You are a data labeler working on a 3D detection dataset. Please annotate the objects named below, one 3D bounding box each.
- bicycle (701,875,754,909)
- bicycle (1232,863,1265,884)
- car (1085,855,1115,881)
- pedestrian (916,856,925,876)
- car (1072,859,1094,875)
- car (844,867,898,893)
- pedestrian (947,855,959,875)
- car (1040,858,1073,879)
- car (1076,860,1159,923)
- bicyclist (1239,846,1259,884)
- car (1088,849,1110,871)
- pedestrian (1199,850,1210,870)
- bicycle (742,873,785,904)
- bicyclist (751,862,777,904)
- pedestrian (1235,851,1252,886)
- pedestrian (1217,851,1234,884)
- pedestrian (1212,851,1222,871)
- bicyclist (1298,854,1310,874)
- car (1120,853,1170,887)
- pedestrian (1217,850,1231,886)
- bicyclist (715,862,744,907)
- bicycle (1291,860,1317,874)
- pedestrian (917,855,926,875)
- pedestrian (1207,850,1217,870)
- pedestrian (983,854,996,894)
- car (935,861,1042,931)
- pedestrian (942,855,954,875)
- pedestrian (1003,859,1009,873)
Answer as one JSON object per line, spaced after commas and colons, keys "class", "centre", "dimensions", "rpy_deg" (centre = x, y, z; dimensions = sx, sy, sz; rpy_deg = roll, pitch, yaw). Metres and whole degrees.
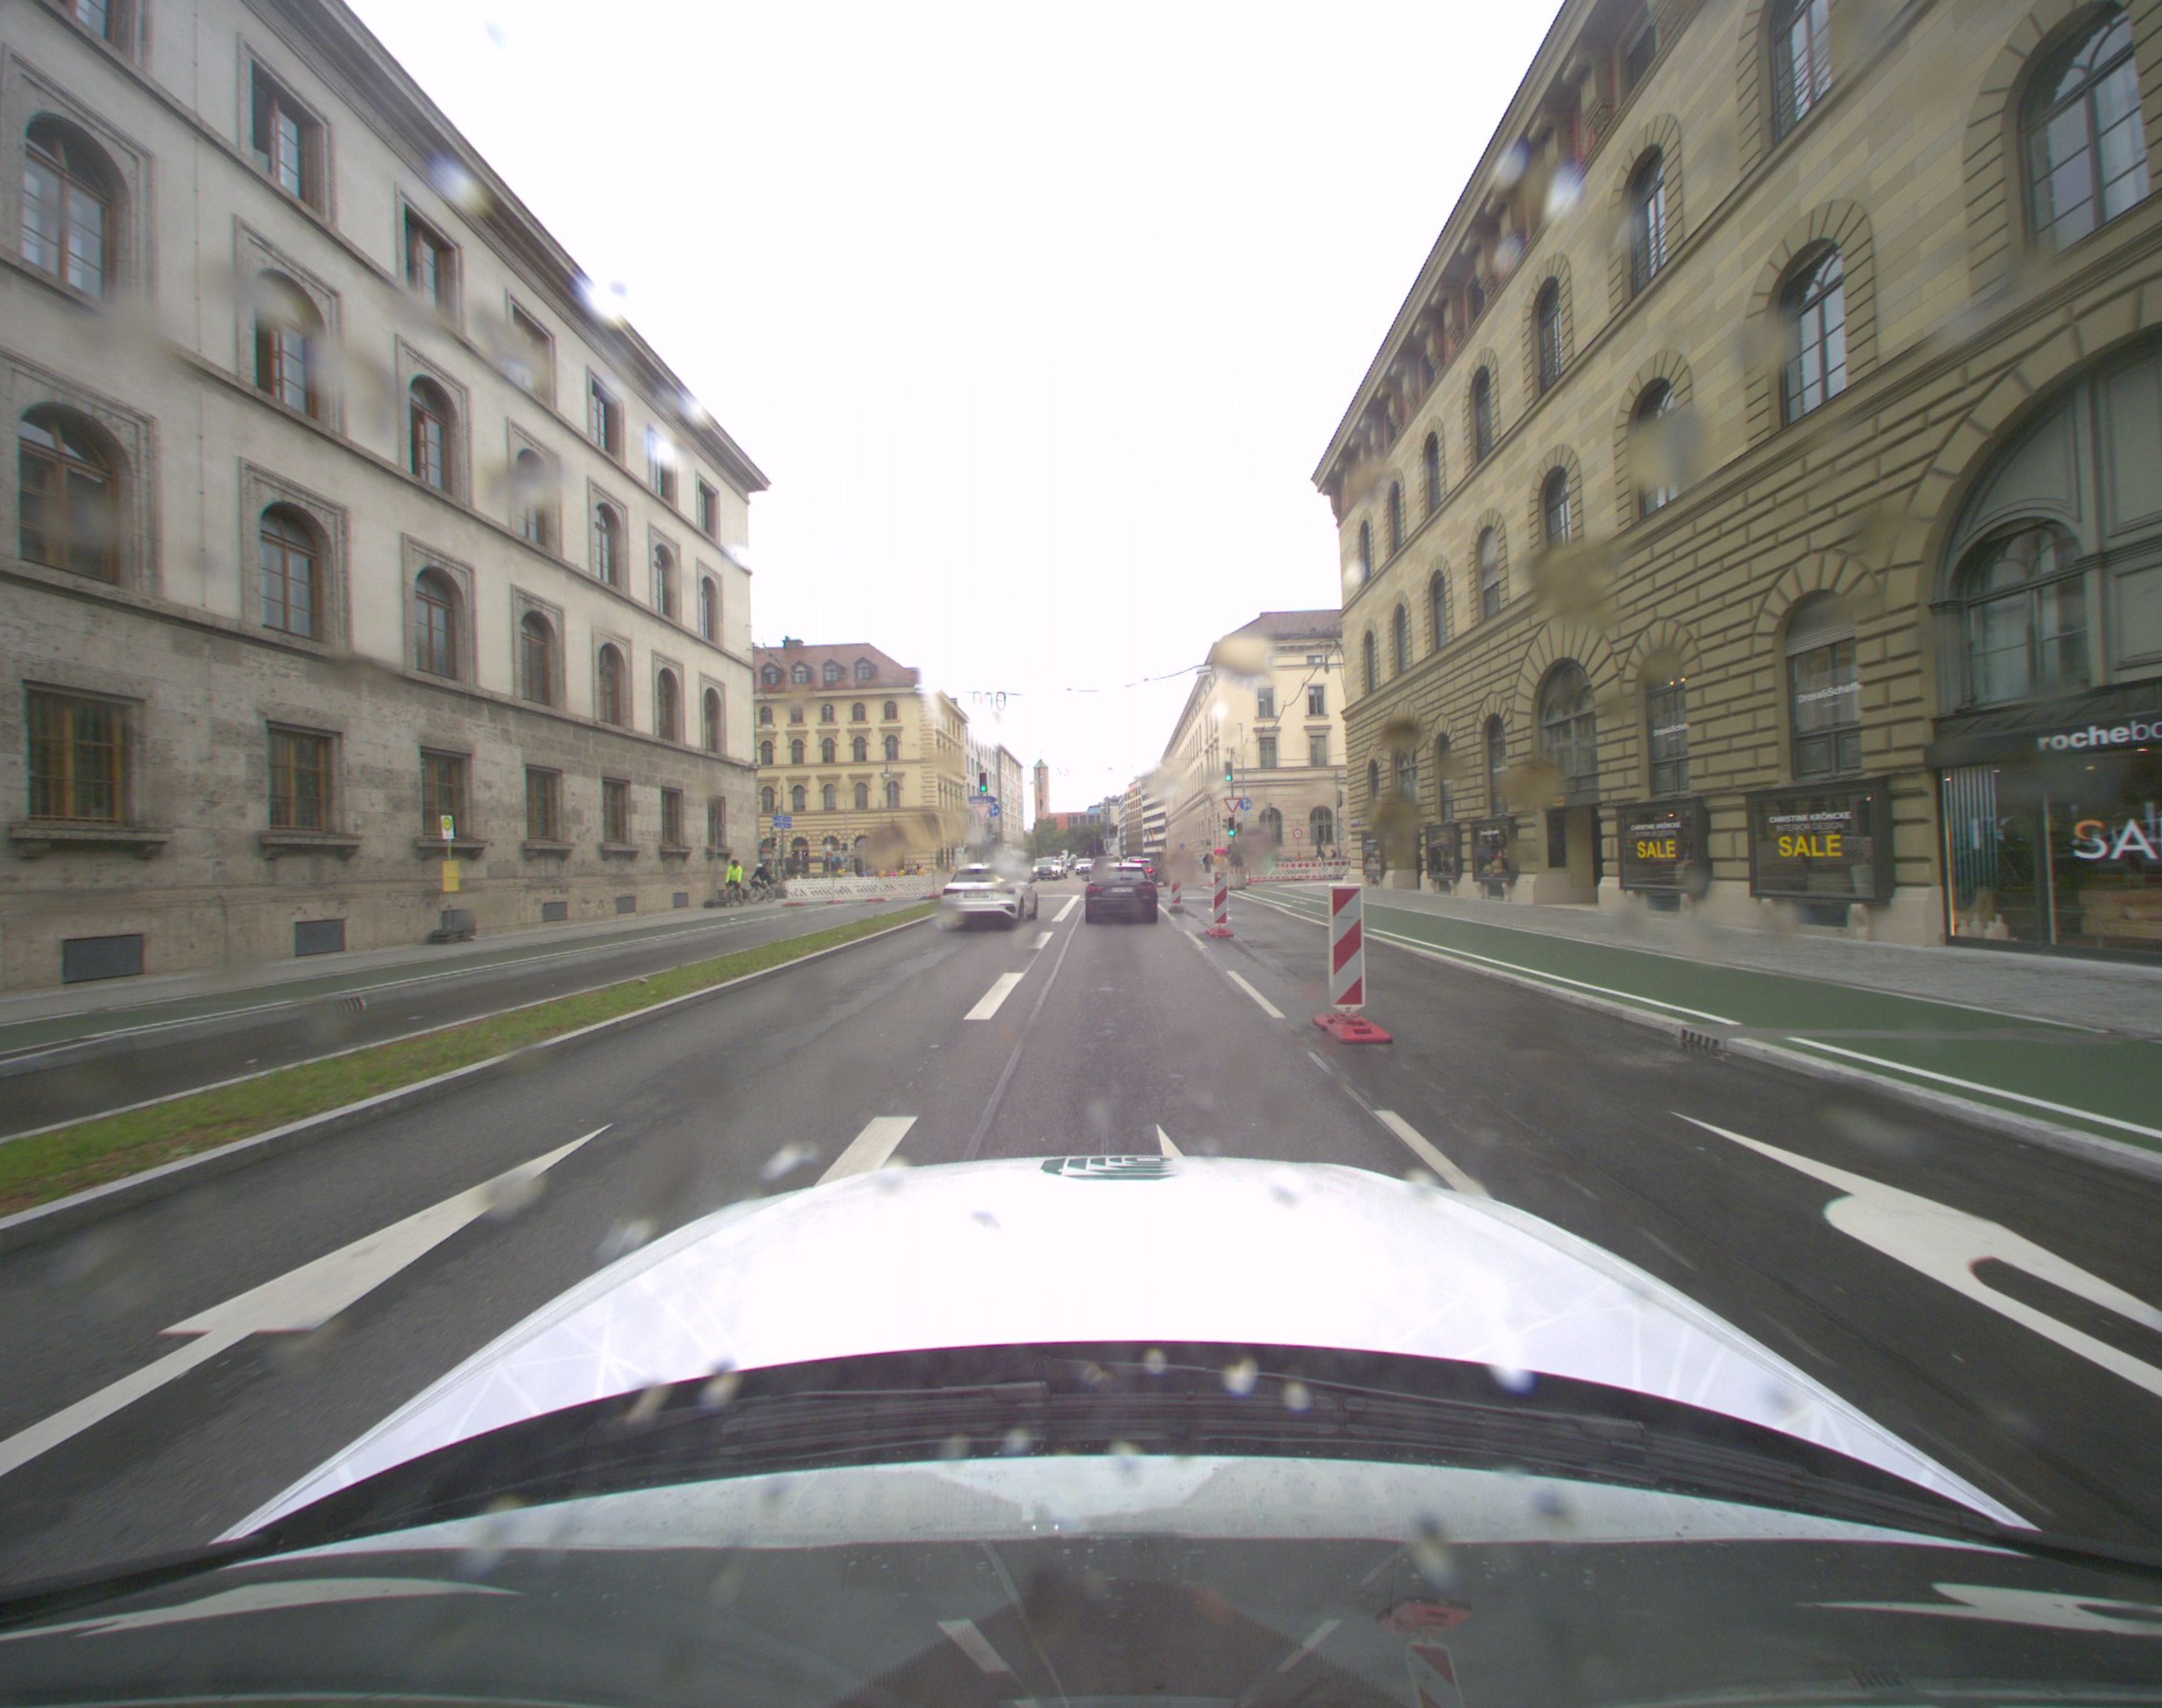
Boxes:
{"class": "bicycle", "centre": [-13.964, 1.482, 32.270], "dimensions": [0.783, 1.242, 2.453], "rpy_deg": [-1, 0, 6]}
{"class": "bicycle", "centre": [8.269, 0.954, 40.292], "dimensions": [0.589, 1.011, 1.639], "rpy_deg": [-1, 0, -33]}
{"class": "car", "centre": [1.254, 0.871, 53.162], "dimensions": [1.858, 1.601, 3.852], "rpy_deg": [-2, 0, 1]}
{"class": "pedestrian", "centre": [-14.077, 1.027, 71.488], "dimensions": [0.733, 1.772, 0.737], "rpy_deg": [-1, 0, -8]}
{"class": "car", "centre": [0.235, 1.259, 82.485], "dimensions": [1.986, 1.524, 4.234], "rpy_deg": [-2, 0, 1]}
{"class": "car", "centre": [-15.836, 1.924, 61.658], "dimensions": [3.741, 1.798, 1.861], "rpy_deg": [-2, -1, -10]}
{"class": "pedestrian", "centre": [-11.512, 1.012, 73.088], "dimensions": [0.727, 1.772, 0.743], "rpy_deg": [-1, -1, 23]}
{"class": "car", "centre": [-2.099, 1.239, 70.680], "dimensions": [1.781, 1.677, 4.247], "rpy_deg": [-2, 0, 12]}
{"class": "car", "centre": [0.888, 0.864, 20.464], "dimensions": [1.856, 1.388, 4.002], "rpy_deg": [-1, 0, 2]}
{"class": "bicyclist", "centre": [8.287, 0.536, 40.258], "dimensions": [0.570, 1.854, 0.791], "rpy_deg": [0, -1, -33]}
{"class": "car", "centre": [1.755, 0.616, 78.799], "dimensions": [1.986, 2.013, 4.001], "rpy_deg": [-2, 0, 1]}
{"class": "pedestrian", "centre": [10.863, 0.558, 71.637], "dimensions": [0.811, 1.755, 0.683], "rpy_deg": [-1, 0, 18]}
{"class": "bicycle", "centre": [-13.693, 1.473, 35.223], "dimensions": [0.783, 1.242, 2.203], "rpy_deg": [-1, 0, 6]}
{"class": "bicyclist", "centre": [-13.686, 1.232, 35.177], "dimensions": [0.794, 1.776, 0.690], "rpy_deg": [-1, 0, 5]}
{"class": "pedestrian", "centre": [7.537, 0.668, 37.793], "dimensions": [0.699, 1.567, 0.682], "rpy_deg": [-1, 0, 4]}
{"class": "pedestrian", "centre": [6.903, 0.652, 38.905], "dimensions": [0.699, 1.567, 0.542], "rpy_deg": [-1, 0, 4]}
{"class": "pedestrian", "centre": [12.199, 0.630, 73.053], "dimensions": [0.578, 1.755, 0.825], "rpy_deg": [-1, -1, 33]}
{"class": "bicyclist", "centre": [18.236, 0.787, 66.569], "dimensions": [0.740, 1.615, 0.796], "rpy_deg": [-1, 0, 4]}
{"class": "car", "centre": [3.347, 0.789, 41.971], "dimensions": [1.755, 1.617, 4.017], "rpy_deg": [-1, 0, 16]}
{"class": "pedestrian", "centre": [6.475, 0.627, 36.860], "dimensions": [0.529, 1.620, 0.674], "rpy_deg": [-1, 0, 4]}
{"class": "bicyclist", "centre": [-13.956, 1.218, 32.310], "dimensions": [0.794, 1.748, 0.690], "rpy_deg": [-1, 0, 5]}
{"class": "bicycle", "centre": [18.246, 1.055, 66.568], "dimensions": [1.949, 1.040, 0.796], "rpy_deg": [-1, 0, 4]}
{"class": "pedestrian", "centre": [-14.169, 0.958, 72.233], "dimensions": [0.733, 1.772, 0.737], "rpy_deg": [-1, 0, -8]}
{"class": "pedestrian", "centre": [11.630, 0.557, 72.166], "dimensions": [0.578, 1.755, 0.825], "rpy_deg": [-1, -1, 33]}
{"class": "pedestrian", "centre": [-4.104, 0.899, 36.356], "dimensions": [0.512, 1.743, 1.040], "rpy_deg": [-2, 0, -8]}
{"class": "car", "centre": [-2.034, 0.887, 19.135], "dimensions": [1.806, 1.424, 4.454], "rpy_deg": [-1, 0, 2]}
{"class": "pedestrian", "centre": [-11.817, 0.947, 72.351], "dimensions": [0.727, 1.772, 0.765], "rpy_deg": [-1, -1, 23]}
{"class": "pedestrian", "centre": [-10.094, 1.609, 109.983], "dimensions": [0.734, 1.772, 0.736], "rpy_deg": [-1, 0, 1]}
